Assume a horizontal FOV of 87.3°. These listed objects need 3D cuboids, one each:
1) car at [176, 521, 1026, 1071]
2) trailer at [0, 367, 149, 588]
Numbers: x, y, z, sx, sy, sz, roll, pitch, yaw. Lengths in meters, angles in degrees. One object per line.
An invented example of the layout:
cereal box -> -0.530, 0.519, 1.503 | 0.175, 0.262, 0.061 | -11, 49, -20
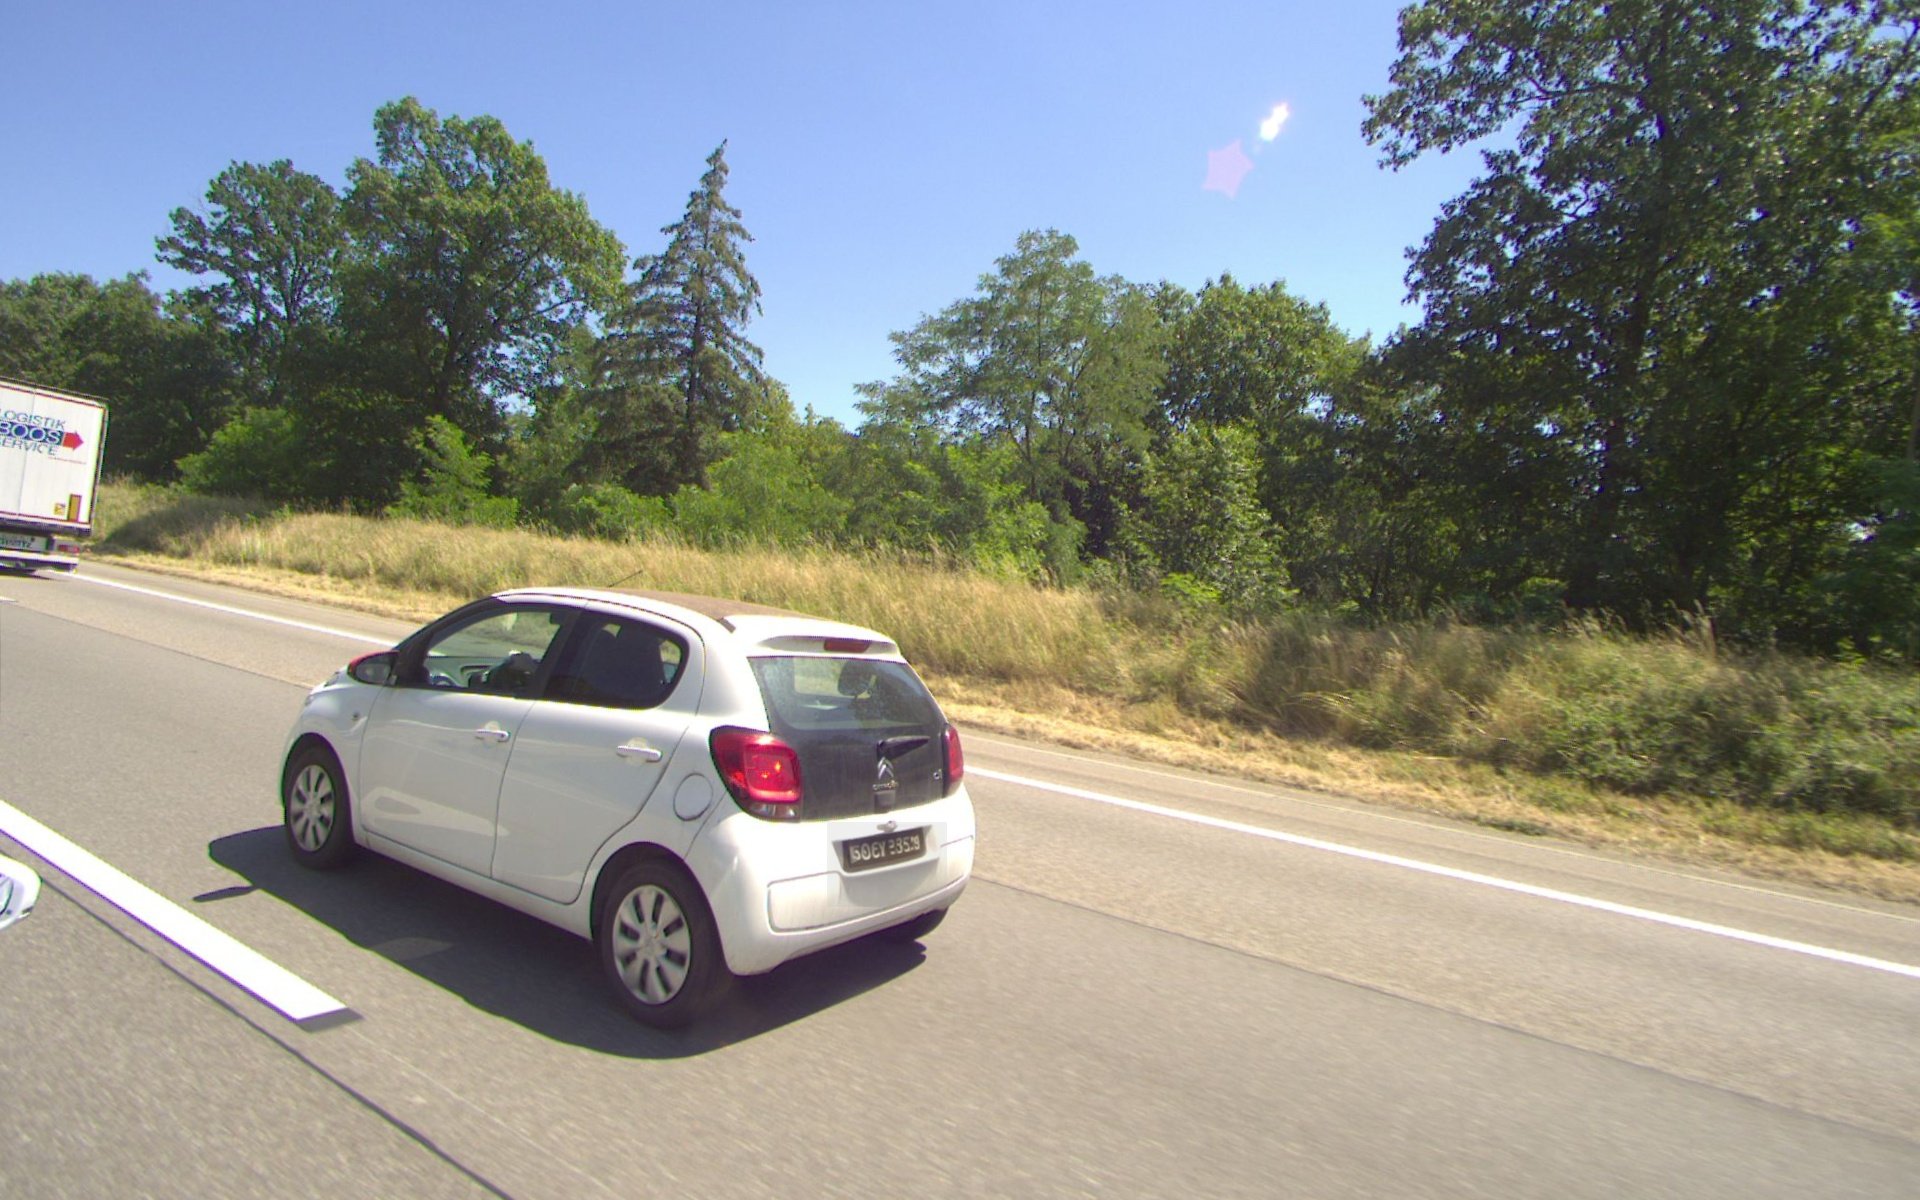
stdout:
car -> -1.894, 0.608, 4.920 | 3.957, 1.513, 1.711 | 6, -1, 32
trailer -> -25.074, -3.159, 24.829 | 13.341, 4.268, 3.292 | 6, -2, 32
